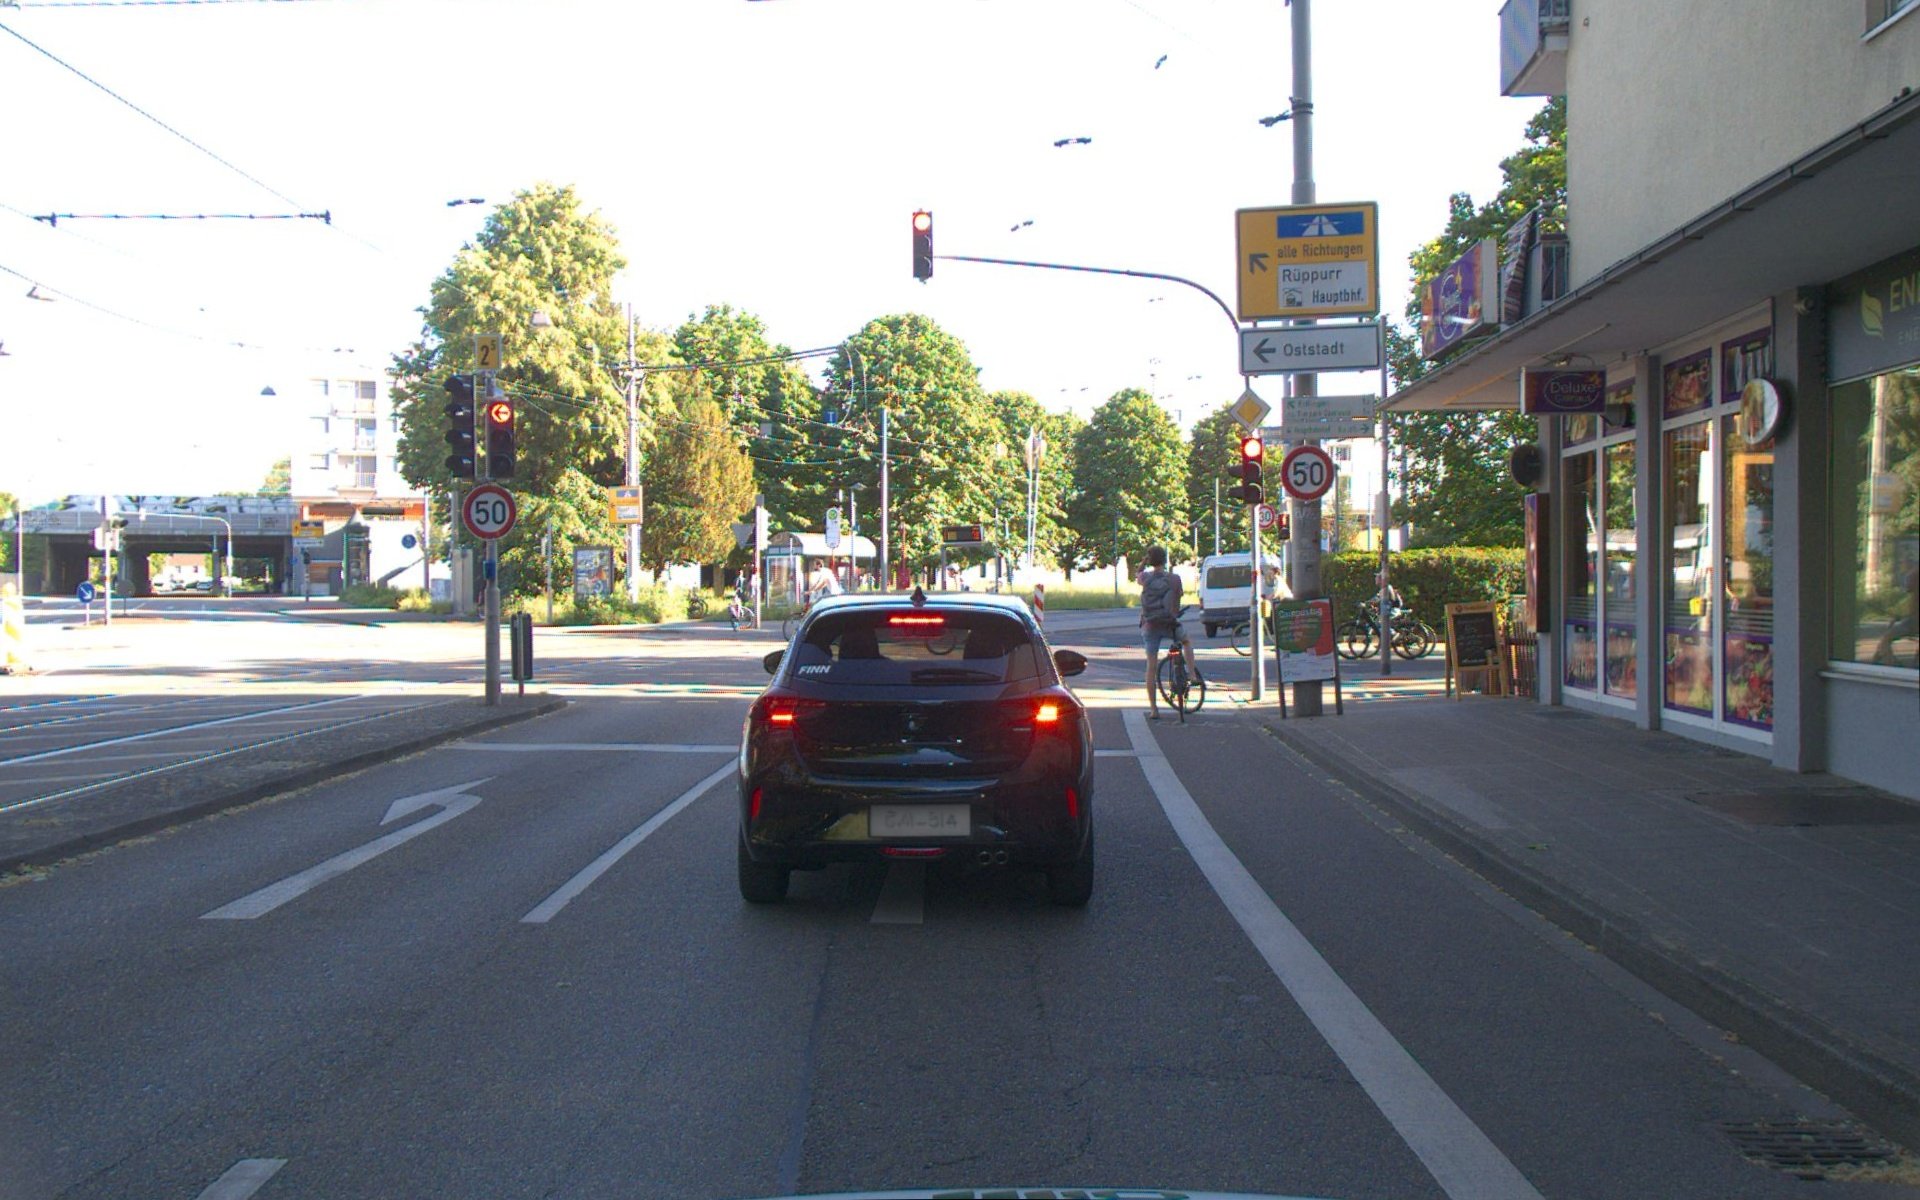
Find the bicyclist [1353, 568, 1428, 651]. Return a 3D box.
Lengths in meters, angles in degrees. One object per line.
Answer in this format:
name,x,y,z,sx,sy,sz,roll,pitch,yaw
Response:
bicyclist,8.224,0.166,31.636,1.094,1.547,0.918,-1,0,-14

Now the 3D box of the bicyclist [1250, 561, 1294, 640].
bicyclist,6.449,0.004,34.167,0.843,1.623,0.650,0,0,13

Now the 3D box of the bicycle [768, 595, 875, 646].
bicycle,-3.092,0.451,37.051,2.244,1.103,0.801,0,0,12

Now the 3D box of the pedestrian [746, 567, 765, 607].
pedestrian,-8.464,-0.539,68.466,0.623,1.658,0.572,1,0,6

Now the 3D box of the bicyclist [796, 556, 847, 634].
bicyclist,-3.101,-0.115,37.040,0.907,1.737,0.876,0,0,11

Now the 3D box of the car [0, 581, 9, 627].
car,-33.076,0.108,55.039,1.798,1.545,3.870,2,0,-21

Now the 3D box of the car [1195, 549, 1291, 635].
car,8.084,-0.242,46.878,2.020,2.288,4.890,0,1,17

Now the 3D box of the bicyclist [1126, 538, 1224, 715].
bicyclist,2.347,0.281,18.131,0.922,1.883,0.864,-1,0,-1

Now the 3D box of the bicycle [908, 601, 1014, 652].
bicycle,0.023,0.523,33.136,2.014,1.001,0.673,0,0,10

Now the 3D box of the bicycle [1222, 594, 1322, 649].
bicycle,6.452,0.448,34.174,2.011,1.113,0.593,0,0,13

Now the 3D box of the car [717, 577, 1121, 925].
car,-0.188,0.620,9.067,1.692,1.454,4.187,0,0,-1

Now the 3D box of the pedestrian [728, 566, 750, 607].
pedestrian,-9.172,-0.546,68.544,0.735,1.658,0.598,1,0,6

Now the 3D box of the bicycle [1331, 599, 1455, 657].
bicycle,8.283,0.532,31.656,2.153,1.051,0.831,-1,1,-14

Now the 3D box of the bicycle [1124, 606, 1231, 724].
bicycle,2.353,0.673,18.170,0.842,1.173,2.171,-1,1,-1

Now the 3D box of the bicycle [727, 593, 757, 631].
bicycle,-6.145,0.328,46.696,0.593,1.049,1.982,0,1,-1

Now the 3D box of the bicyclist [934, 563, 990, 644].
bicyclist,0.050,0.058,33.146,0.988,1.598,0.800,0,0,10
